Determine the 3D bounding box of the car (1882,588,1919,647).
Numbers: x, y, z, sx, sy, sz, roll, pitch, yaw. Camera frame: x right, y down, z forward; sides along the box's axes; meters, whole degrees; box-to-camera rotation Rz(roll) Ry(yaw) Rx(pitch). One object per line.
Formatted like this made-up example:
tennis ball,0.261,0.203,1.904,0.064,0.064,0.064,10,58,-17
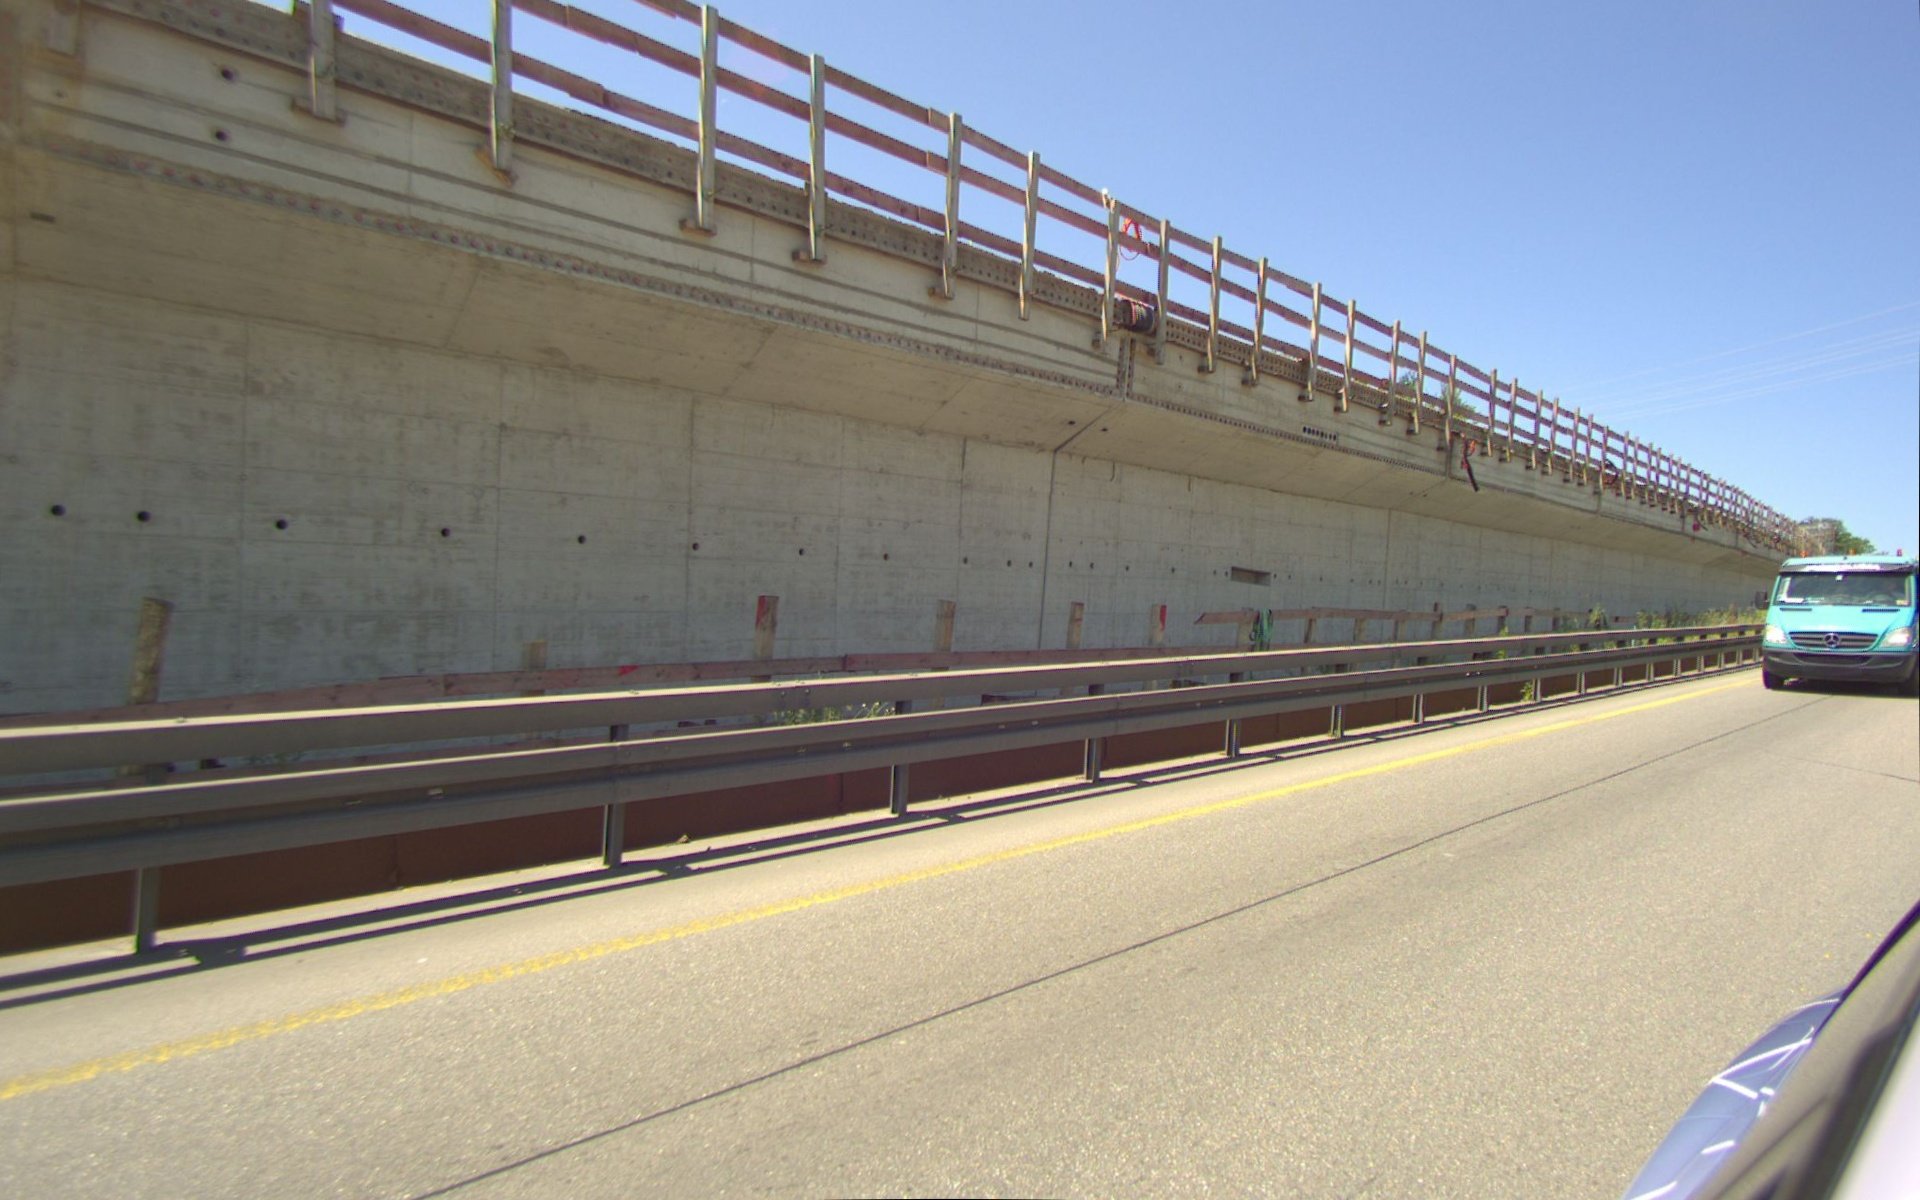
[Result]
car,29.035,0.495,30.283,3.934,1.681,1.856,-1,0,-44

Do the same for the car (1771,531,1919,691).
car,16.528,0.145,18.227,7.088,2.411,1.966,0,1,-43
